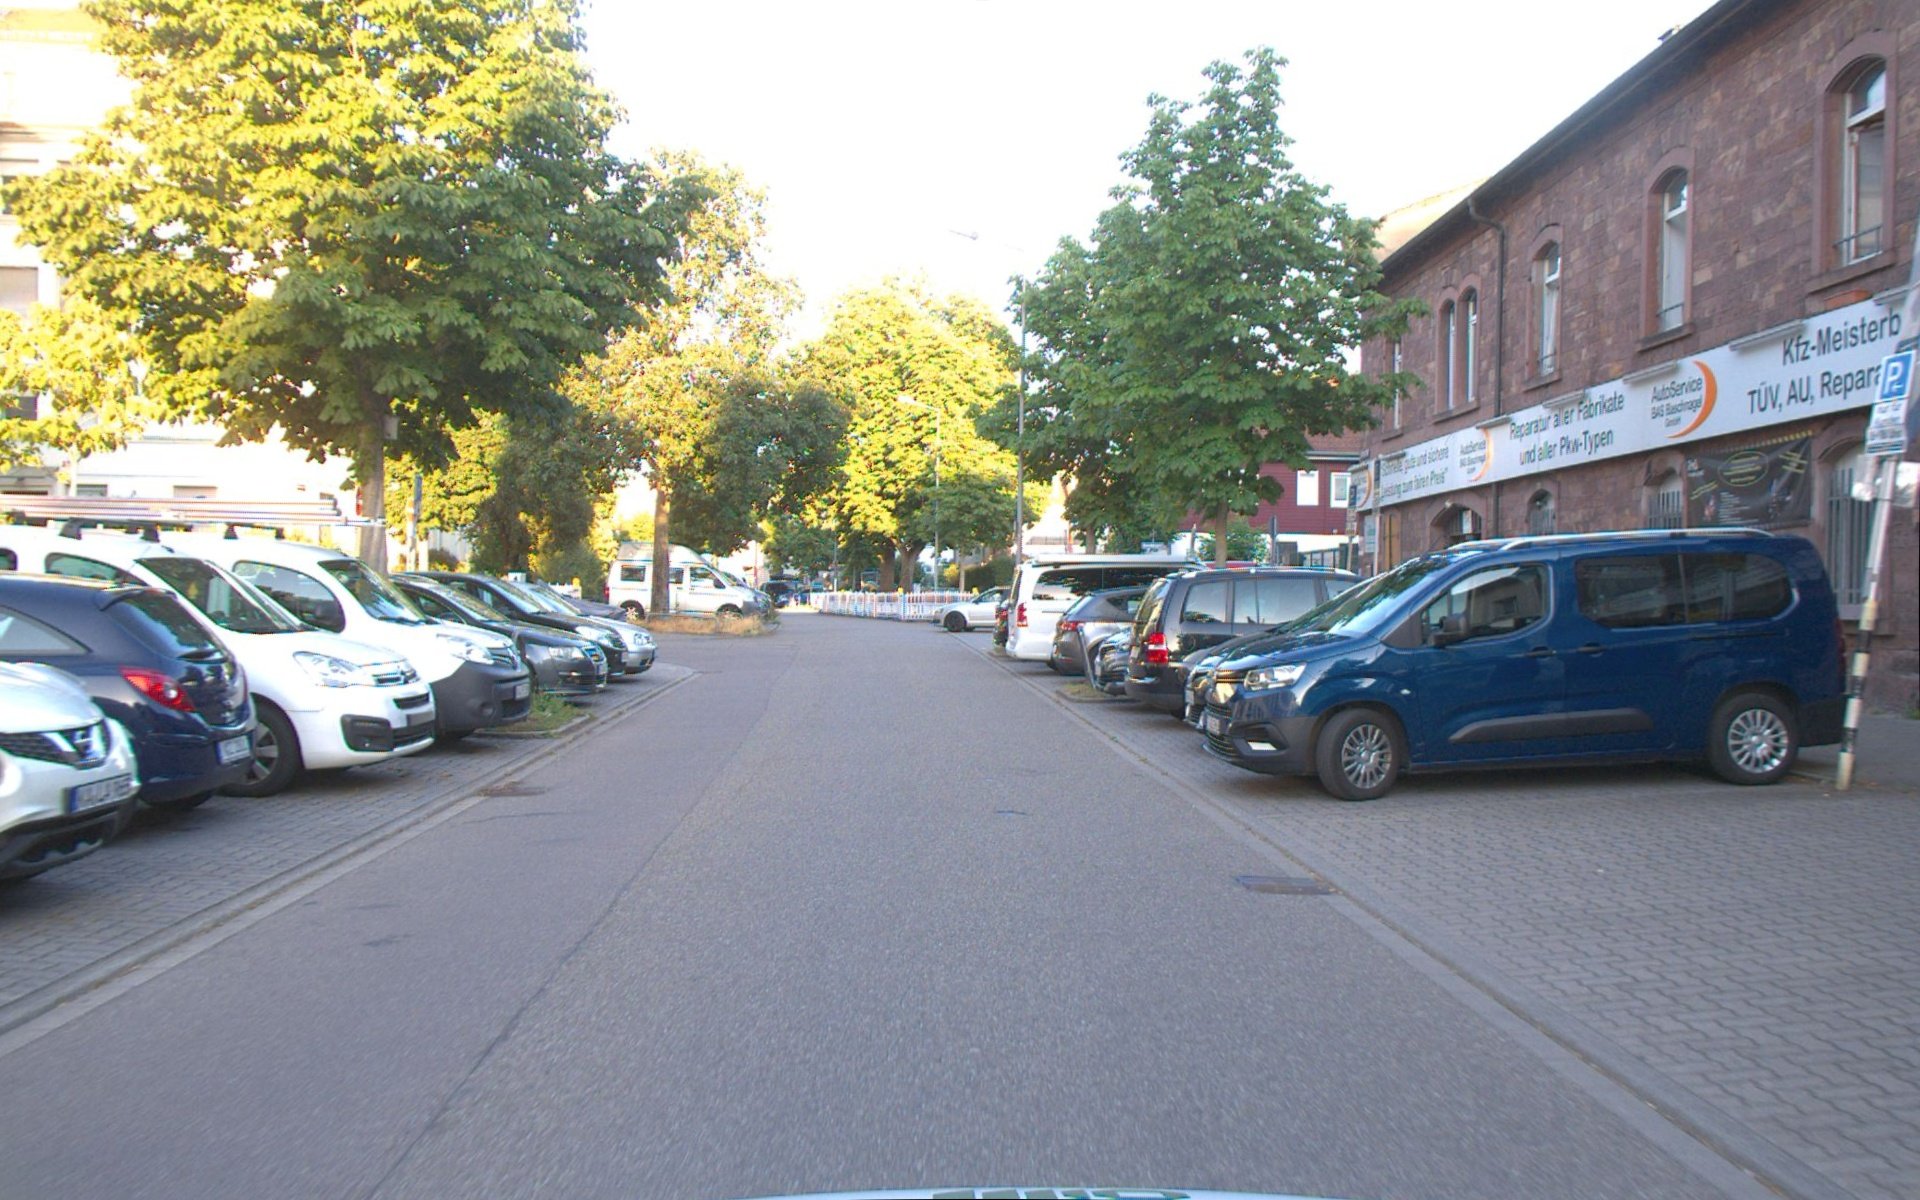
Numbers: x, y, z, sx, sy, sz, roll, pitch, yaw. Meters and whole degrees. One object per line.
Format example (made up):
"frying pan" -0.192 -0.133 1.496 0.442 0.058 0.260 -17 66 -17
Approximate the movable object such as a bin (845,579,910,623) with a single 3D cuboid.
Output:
"movable object such as a bin" -4.793 0.045 95.482 2.586 2.445 5.173 1 0 -17

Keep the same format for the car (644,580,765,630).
"car" -10.022 0.190 64.919 4.588 1.906 1.995 1 0 -10

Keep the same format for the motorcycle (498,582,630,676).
"motorcycle" -6.314 0.461 26.453 1.948 1.461 0.720 1 0 -7

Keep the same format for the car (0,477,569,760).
"car" -6.014 0.125 14.813 4.420 2.106 2.001 3 1 1

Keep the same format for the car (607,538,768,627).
"car" -8.329 -0.536 50.926 4.636 2.614 1.999 1 0 -2

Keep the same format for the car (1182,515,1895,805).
"car" 4.236 0.391 12.638 4.691 1.784 2.016 -3 1 -3

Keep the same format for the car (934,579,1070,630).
"car" 1.317 0.123 51.234 3.902 1.514 1.815 1 0 14

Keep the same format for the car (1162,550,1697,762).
"car" 4.230 0.460 15.374 4.327 1.602 1.980 -3 1 -4

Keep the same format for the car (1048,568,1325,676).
"car" 3.376 0.318 25.130 3.907 1.536 1.775 1 0 -3

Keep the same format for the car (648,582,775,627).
"car" -8.557 0.154 57.170 4.160 1.418 1.683 1 0 -4

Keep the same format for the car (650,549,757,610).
"car" -10.863 -0.844 70.075 4.420 2.473 1.995 1 0 -10

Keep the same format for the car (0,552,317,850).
"car" -6.129 0.457 9.752 3.908 1.510 1.755 4 0 -3

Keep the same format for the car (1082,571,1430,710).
"car" 3.575 0.482 20.370 3.870 1.592 1.818 1 0 -6

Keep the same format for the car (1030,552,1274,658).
"car" 3.482 0.093 30.542 4.215 1.831 1.903 1 0 -3

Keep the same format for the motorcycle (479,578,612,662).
"motorcycle" -7.437 0.354 29.729 2.185 1.461 0.774 1 0 0

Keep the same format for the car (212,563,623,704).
"car" -6.362 0.383 19.771 4.238 1.430 1.851 3 0 -1

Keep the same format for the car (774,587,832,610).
"car" -11.536 -0.113 121.420 3.932 1.680 1.752 1 0 -23

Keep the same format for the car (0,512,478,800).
"car" -6.017 0.333 12.118 4.331 1.833 1.943 2 0 0

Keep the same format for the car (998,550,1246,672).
"car" 2.678 0.175 27.948 3.908 1.937 1.999 1 0 -3

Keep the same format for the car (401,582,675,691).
"car" -6.225 0.524 24.667 3.638 1.532 1.689 1 0 -1

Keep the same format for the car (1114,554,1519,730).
"car" 3.786 0.424 18.016 3.908 1.647 1.893 -2 0 -4

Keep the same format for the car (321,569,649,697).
"car" -6.321 0.431 22.325 3.906 1.611 1.728 1 0 -1

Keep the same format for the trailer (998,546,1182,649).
"trailer" 2.891 -0.052 37.298 3.907 2.226 1.999 1 0 -3

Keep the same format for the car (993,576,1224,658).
"car" 2.888 0.332 32.720 4.338 1.525 1.772 1 0 -3

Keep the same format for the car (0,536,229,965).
"car" -5.704 0.490 7.212 4.158 1.649 1.812 2 1 -2
